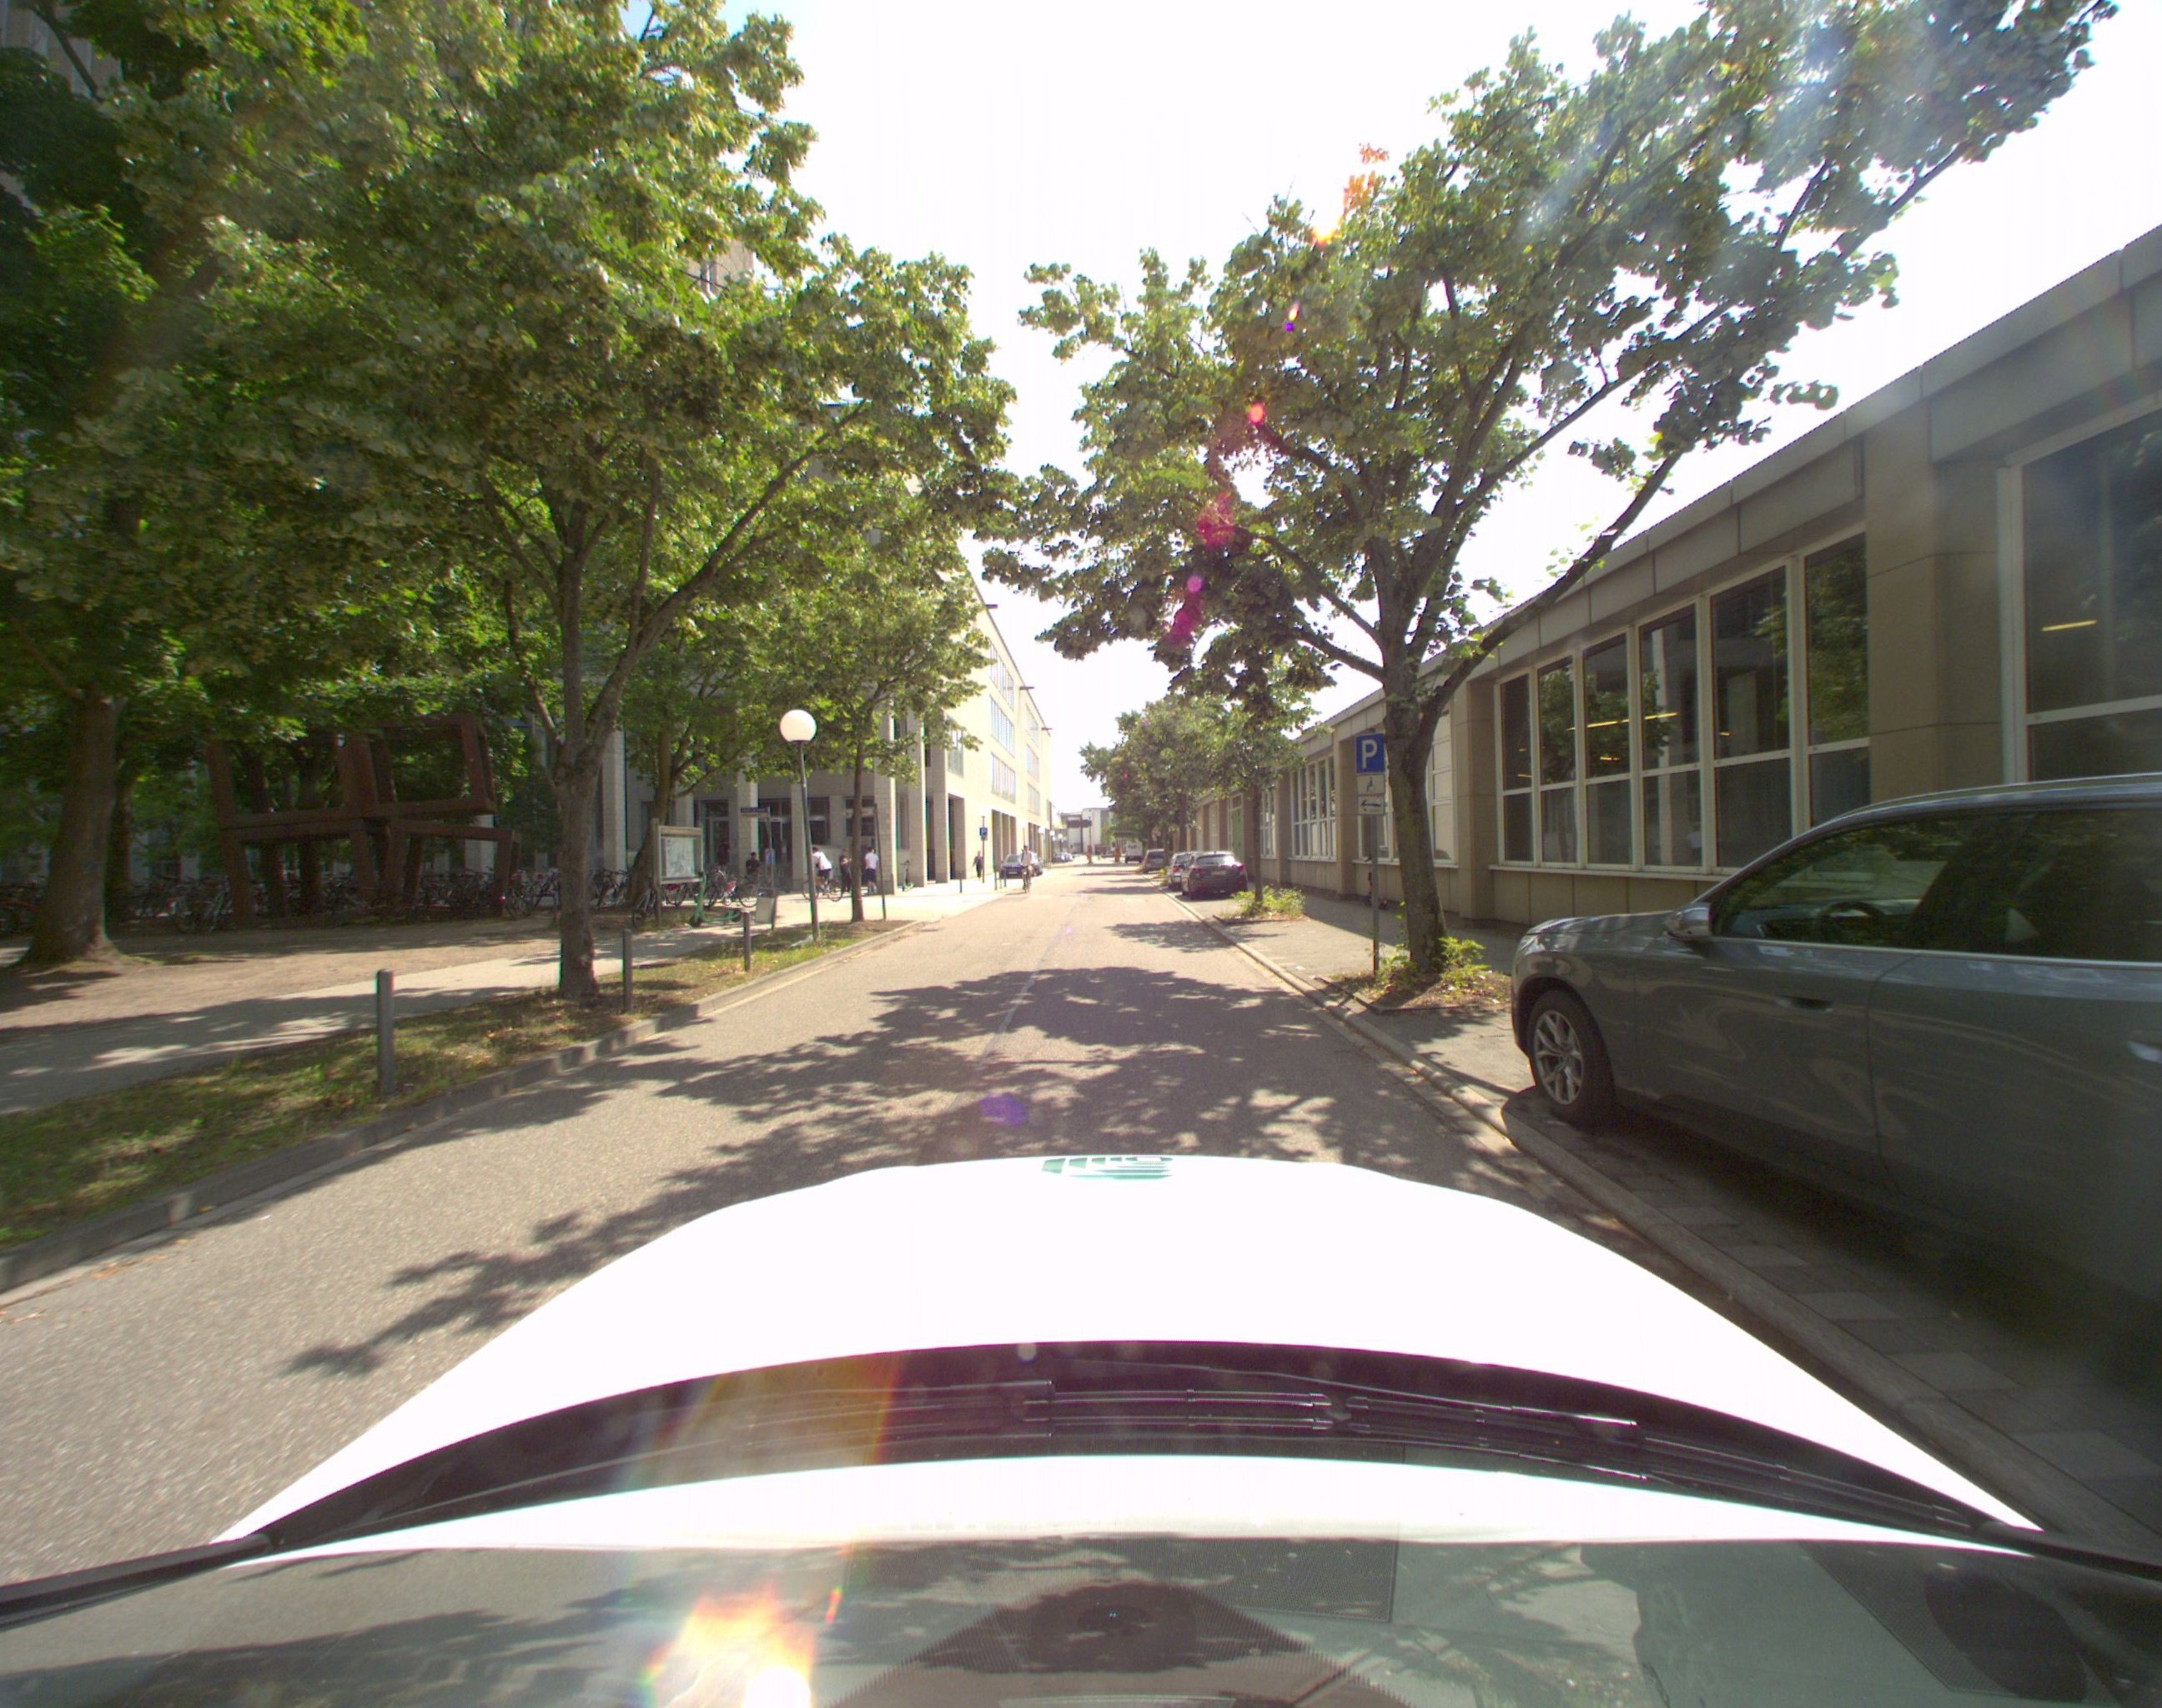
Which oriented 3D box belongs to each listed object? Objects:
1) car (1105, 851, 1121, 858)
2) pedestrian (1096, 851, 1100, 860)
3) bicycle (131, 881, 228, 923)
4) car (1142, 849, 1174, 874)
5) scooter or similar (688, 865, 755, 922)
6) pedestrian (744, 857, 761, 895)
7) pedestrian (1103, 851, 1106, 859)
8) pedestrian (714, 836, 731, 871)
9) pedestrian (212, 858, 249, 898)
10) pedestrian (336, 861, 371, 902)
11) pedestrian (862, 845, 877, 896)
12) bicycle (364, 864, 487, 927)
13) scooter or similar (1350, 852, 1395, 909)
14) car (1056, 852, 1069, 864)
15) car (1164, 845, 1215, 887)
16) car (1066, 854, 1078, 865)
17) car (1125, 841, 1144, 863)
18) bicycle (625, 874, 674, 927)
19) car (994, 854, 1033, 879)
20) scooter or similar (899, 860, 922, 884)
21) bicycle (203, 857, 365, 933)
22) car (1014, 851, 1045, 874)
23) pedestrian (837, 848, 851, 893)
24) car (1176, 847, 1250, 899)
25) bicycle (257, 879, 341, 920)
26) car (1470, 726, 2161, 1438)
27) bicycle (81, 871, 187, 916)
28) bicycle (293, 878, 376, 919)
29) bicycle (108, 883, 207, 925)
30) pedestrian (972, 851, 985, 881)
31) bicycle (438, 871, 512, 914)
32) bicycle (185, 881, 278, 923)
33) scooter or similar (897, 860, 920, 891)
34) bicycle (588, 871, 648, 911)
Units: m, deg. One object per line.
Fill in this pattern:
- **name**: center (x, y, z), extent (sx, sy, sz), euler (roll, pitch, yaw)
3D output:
- **car**: center (7.161, 0.083, 182.646), extent (3.482, 1.697, 1.438), euler (0, 0, 1)
- **pedestrian**: center (2.933, 0.269, 142.249), extent (0.774, 1.678, 0.505), euler (0, 0, 2)
- **bicycle**: center (-25.935, 1.364, 23.476), extent (0.550, 1.086, 1.974), euler (1, 0, 2)
- **car**: center (5.127, 0.475, 54.434), extent (1.851, 1.574, 4.002), euler (-3, 0, 2)
- **scooter or similar**: center (-7.805, 0.831, 17.709), extent (0.335, 1.175, 1.337), euler (-1, 0, 37)
- **pedestrian**: center (-12.565, 0.834, 31.155), extent (0.465, 1.383, 0.443), euler (-2, 3, -8)
- **pedestrian**: center (4.519, 0.203, 157.673), extent (0.604, 1.619, 0.682), euler (0, 0, 1)
- **pedestrian**: center (-16.851, -0.029, 38.310), extent (0.637, 1.661, 0.688), euler (-1, 0, -30)
- **pedestrian**: center (-33.263, 0.926, 31.852), extent (0.702, 1.540, 0.717), euler (-1, 0, -9)
- **pedestrian**: center (-28.594, 1.067, 32.004), extent (0.824, 1.593, 0.598), euler (-1, 0, 3)
- **pedestrian**: center (-8.087, 0.613, 31.162), extent (0.415, 1.942, 0.657), euler (0, 0, -27)
- **bicycle**: center (-14.489, 0.893, 18.084), extent (2.027, 1.254, 0.582), euler (-2, 0, -31)
- **scooter or similar**: center (6.729, 0.589, 18.835), extent (0.509, 1.249, 1.486), euler (-2, 0, 2)
- **car**: center (-2.603, 0.566, 115.584), extent (1.640, 1.498, 3.729), euler (-2, -2, 2)
- **car**: center (4.205, 0.434, 31.943), extent (1.610, 1.538, 3.782), euler (-1, 0, 2)
- **car**: center (-1.356, 0.893, 127.363), extent (1.640, 1.498, 3.729), euler (-2, -2, 2)
- **car**: center (6.431, -0.279, 97.969), extent (2.076, 2.539, 4.317), euler (0, 0, 2)
- **bicycle**: center (-9.138, 0.957, 17.293), extent (0.381, 1.025, 1.809), euler (-1, 0, -10)
- **car**: center (-4.079, 0.724, 49.911), extent (1.759, 1.427, 4.238), euler (-1, 0, 3)
- **scooter or similar**: center (-8.671, 0.902, 41.369), extent (0.529, 1.210, 1.541), euler (-1, 0, -36)
- **bicycle**: center (-16.458, 0.814, 16.904), extent (2.298, 1.450, 0.601), euler (-1, 0, -32)
- **car**: center (-3.460, 0.561, 55.321), extent (1.624, 1.485, 4.180), euler (-1, 0, 2)
- **pedestrian**: center (-9.281, 0.639, 31.890), extent (0.443, 1.775, 0.447), euler (-1, 0, -29)
- **car**: center (4.213, 0.563, 26.569), extent (1.774, 1.476, 4.464), euler (-3, 0, 2)
- **bicycle**: center (-23.185, 1.333, 24.197), extent (0.550, 1.086, 1.974), euler (1, 0, 2)
- **car**: center (3.415, 0.516, 2.919), extent (1.816, 1.664, 4.583), euler (-2, -1, 0)
- **bicycle**: center (-27.376, 1.124, 23.601), extent (0.548, 1.121, 2.092), euler (0, 2, 2)
- **bicycle**: center (-21.884, 1.289, 23.926), extent (0.550, 1.086, 1.974), euler (1, 0, 2)
- **bicycle**: center (-26.636, 1.408, 23.531), extent (0.550, 1.086, 1.974), euler (1, 0, 2)
- **pedestrian**: center (-5.879, 0.691, 46.675), extent (0.649, 1.701, 0.887), euler (-1, 0, -9)
- **bicycle**: center (-15.765, 0.988, 21.233), extent (0.473, 1.032, 1.851), euler (-1, 0, 3)
- **bicycle**: center (-24.457, 1.347, 23.510), extent (0.550, 1.086, 1.974), euler (1, 0, 2)
- **scooter or similar**: center (-7.138, 0.888, 33.815), extent (0.452, 1.223, 1.551), euler (-1, 0, 6)
- **bicycle**: center (-13.516, 1.054, 23.818), extent (0.550, 1.086, 1.974), euler (1, 0, 2)
